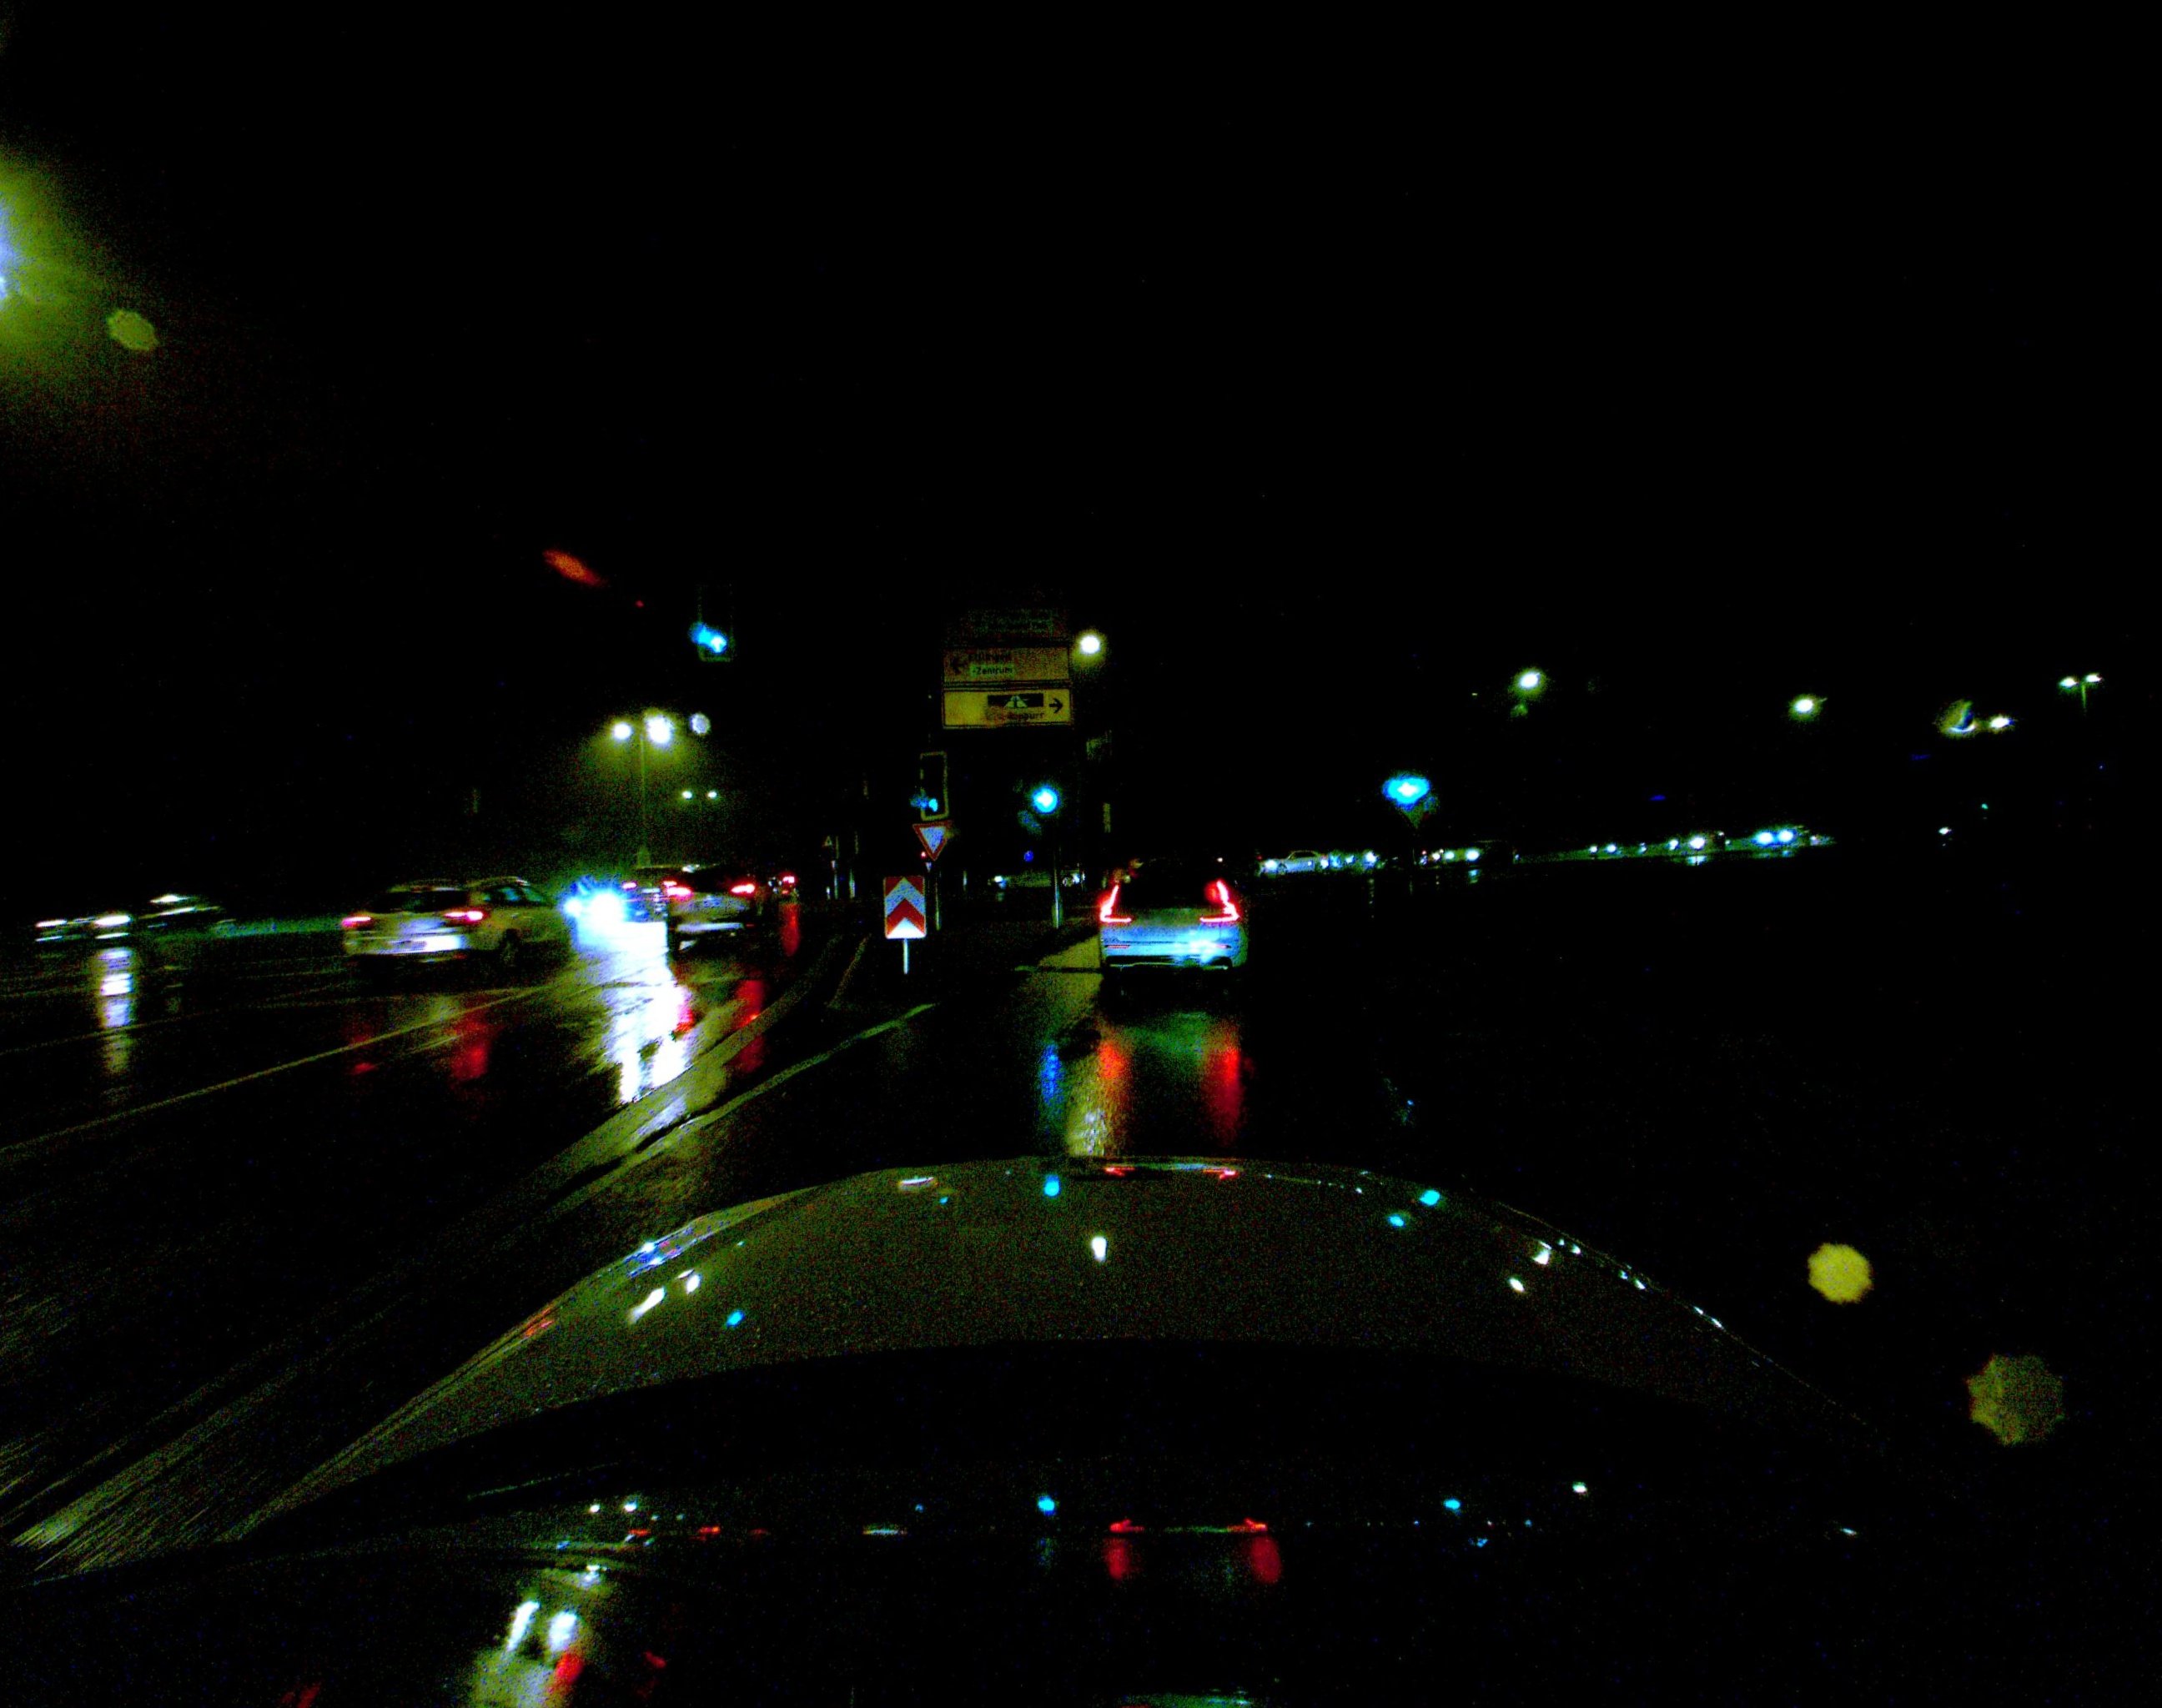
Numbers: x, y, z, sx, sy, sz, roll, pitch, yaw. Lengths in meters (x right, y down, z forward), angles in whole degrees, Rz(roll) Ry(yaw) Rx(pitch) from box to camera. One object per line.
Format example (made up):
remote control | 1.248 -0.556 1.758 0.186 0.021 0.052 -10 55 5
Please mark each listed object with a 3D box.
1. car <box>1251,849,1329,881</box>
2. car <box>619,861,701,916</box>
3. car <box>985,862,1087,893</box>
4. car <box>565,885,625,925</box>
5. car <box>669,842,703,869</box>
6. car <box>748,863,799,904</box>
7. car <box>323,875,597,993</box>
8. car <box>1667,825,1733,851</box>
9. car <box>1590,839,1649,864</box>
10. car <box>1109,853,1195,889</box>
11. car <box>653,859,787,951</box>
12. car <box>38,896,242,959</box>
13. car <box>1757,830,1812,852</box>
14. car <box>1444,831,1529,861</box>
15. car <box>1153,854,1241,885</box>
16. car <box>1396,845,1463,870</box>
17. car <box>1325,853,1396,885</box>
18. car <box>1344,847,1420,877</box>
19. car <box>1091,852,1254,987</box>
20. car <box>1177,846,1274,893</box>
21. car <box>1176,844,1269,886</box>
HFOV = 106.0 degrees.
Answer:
car | 12.218 0.621 47.687 4.257 1.799 1.789 0 -1 -25
car | -14.172 1.125 27.605 1.916 1.658 3.959 -2 -1 -20
car | -2.251 1.150 40.828 4.810 1.427 1.751 -1 -1 -24
car | -26.913 2.793 45.233 1.816 2.014 3.979 -1 -1 -15
car | -31.240 0.138 64.511 1.779 2.079 3.978 0 -1 -16
car | -13.525 1.232 35.673 1.836 1.653 4.444 0 0 -24
car | -9.645 1.131 13.146 1.737 1.436 4.274 -3 0 -11
car | 42.227 -1.070 55.517 4.314 1.578 1.803 -2 -2 -26
car | 40.491 -0.164 61.243 4.006 1.849 1.814 0 -1 -25
car | 3.836 0.905 43.665 4.292 1.848 1.750 0 -1 -25
car | -7.142 0.943 16.519 1.853 1.592 4.002 -1 -1 -15
car | -26.455 1.998 23.120 1.724 1.414 4.010 0 0 -13
car | 57.079 -1.037 66.092 4.497 1.666 1.788 0 -2 -27
car | 22.293 -0.449 44.721 4.418 1.483 1.769 -2 2 -24
car | 5.829 0.759 40.829 4.060 1.487 1.706 -1 -1 -21
car | 22.776 0.234 53.212 4.047 1.377 1.750 -3 0 -25
car | 17.426 0.920 50.728 4.131 1.848 1.750 0 -1 -25
car | 17.089 0.459 46.252 3.983 1.666 1.789 0 -1 -25
car | 1.437 0.732 11.200 1.784 1.452 4.282 -1 0 11
car | 8.933 0.937 50.307 5.617 2.710 2.238 0 -1 -24
car | 6.566 0.501 37.823 3.906 1.725 1.752 -2 0 -23
